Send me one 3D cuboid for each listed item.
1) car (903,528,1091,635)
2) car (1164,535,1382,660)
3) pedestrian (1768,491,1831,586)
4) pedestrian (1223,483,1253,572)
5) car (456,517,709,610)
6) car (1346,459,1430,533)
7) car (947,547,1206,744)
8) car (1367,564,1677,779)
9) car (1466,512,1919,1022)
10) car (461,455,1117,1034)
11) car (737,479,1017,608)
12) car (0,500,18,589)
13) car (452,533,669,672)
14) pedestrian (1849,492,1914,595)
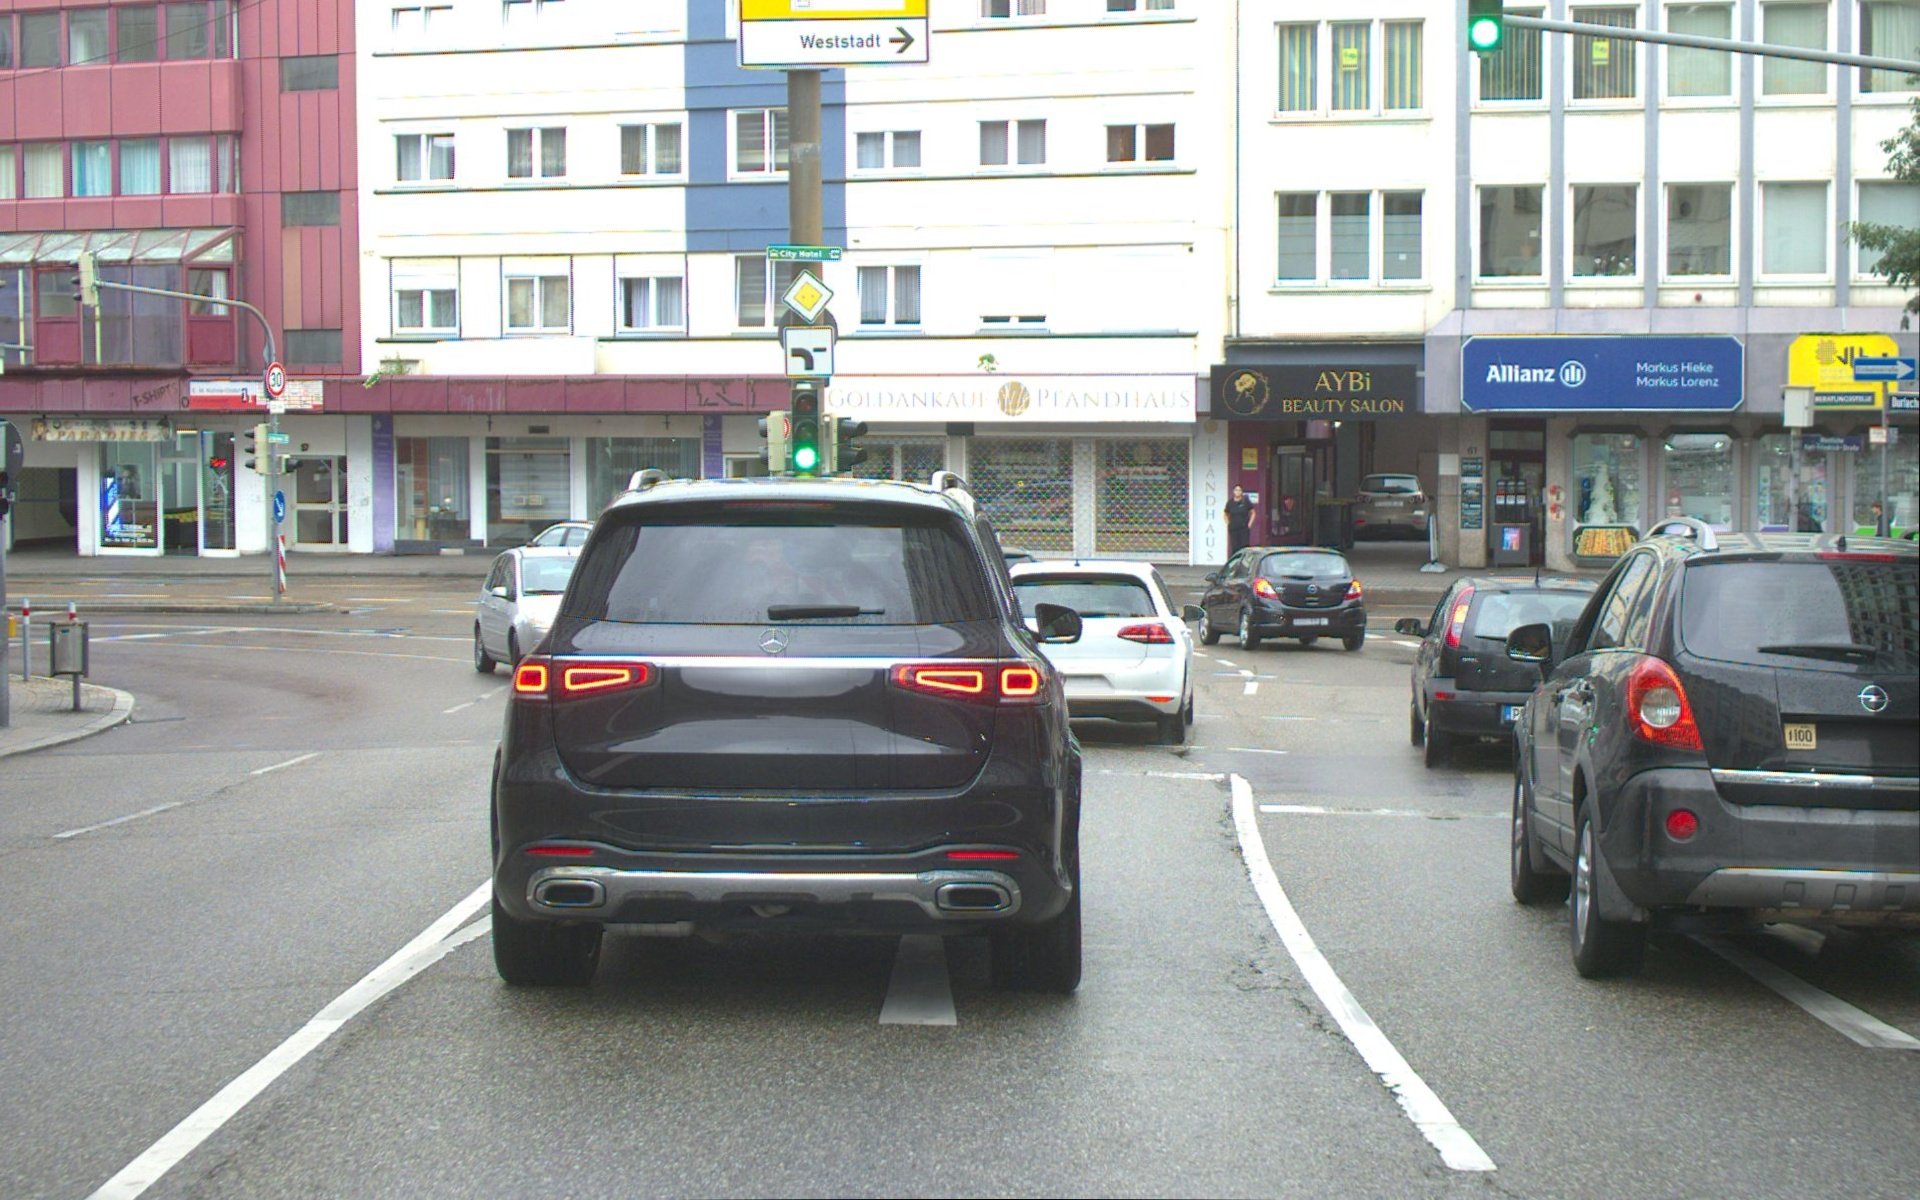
[{"bbox_3d":[0.485,-0.297,50.051,1.993,1.481,4.238,0,1,-10],"label":"car"},{"bbox_3d":[4.424,-0.055,49.291,1.822,1.653,4.497,2,0,-12],"label":"car"},{"bbox_3d":[15.641,-1.158,64.072,1.030,1.683,0.830,0,7,9],"label":"pedestrian"},{"bbox_3d":[5.462,-1.429,67.626,0.564,1.683,0.756,0,7,6],"label":"pedestrian"},{"bbox_3d":[-6.832,-0.664,61.931,4.659,1.510,1.926,2,-1,44],"label":"car"},{"bbox_3d":[9.871,-2.371,79.074,1.798,1.664,3.999,0,1,9],"label":"car"},{"bbox_3d":[1.062,0.319,29.009,1.874,1.489,4.399,2,1,6],"label":"car"},{"bbox_3d":[4.244,0.492,26.527,1.767,1.392,4.000,4,1,2],"label":"car"},{"bbox_3d":[3.288,0.565,14.053,1.898,1.689,4.505,3,1,3],"label":"car"},{"bbox_3d":[-0.608,0.418,13.248,2.038,1.793,4.663,1,1,-2],"label":"car"},{"bbox_3d":[-1.578,-1.057,62.773,2.243,2.220,5.427,1,1,-38],"label":"car"},{"bbox_3d":[-22.085,-1.271,71.912,4.167,1.831,1.997,3,1,23],"label":"car"},{"bbox_3d":[-5.009,0.039,42.665,1.734,1.587,4.176,-2,0,-20],"label":"car"},{"bbox_3d":[16.836,-1.044,62.852,1.030,1.793,0.830,0,7,9],"label":"pedestrian"}]
